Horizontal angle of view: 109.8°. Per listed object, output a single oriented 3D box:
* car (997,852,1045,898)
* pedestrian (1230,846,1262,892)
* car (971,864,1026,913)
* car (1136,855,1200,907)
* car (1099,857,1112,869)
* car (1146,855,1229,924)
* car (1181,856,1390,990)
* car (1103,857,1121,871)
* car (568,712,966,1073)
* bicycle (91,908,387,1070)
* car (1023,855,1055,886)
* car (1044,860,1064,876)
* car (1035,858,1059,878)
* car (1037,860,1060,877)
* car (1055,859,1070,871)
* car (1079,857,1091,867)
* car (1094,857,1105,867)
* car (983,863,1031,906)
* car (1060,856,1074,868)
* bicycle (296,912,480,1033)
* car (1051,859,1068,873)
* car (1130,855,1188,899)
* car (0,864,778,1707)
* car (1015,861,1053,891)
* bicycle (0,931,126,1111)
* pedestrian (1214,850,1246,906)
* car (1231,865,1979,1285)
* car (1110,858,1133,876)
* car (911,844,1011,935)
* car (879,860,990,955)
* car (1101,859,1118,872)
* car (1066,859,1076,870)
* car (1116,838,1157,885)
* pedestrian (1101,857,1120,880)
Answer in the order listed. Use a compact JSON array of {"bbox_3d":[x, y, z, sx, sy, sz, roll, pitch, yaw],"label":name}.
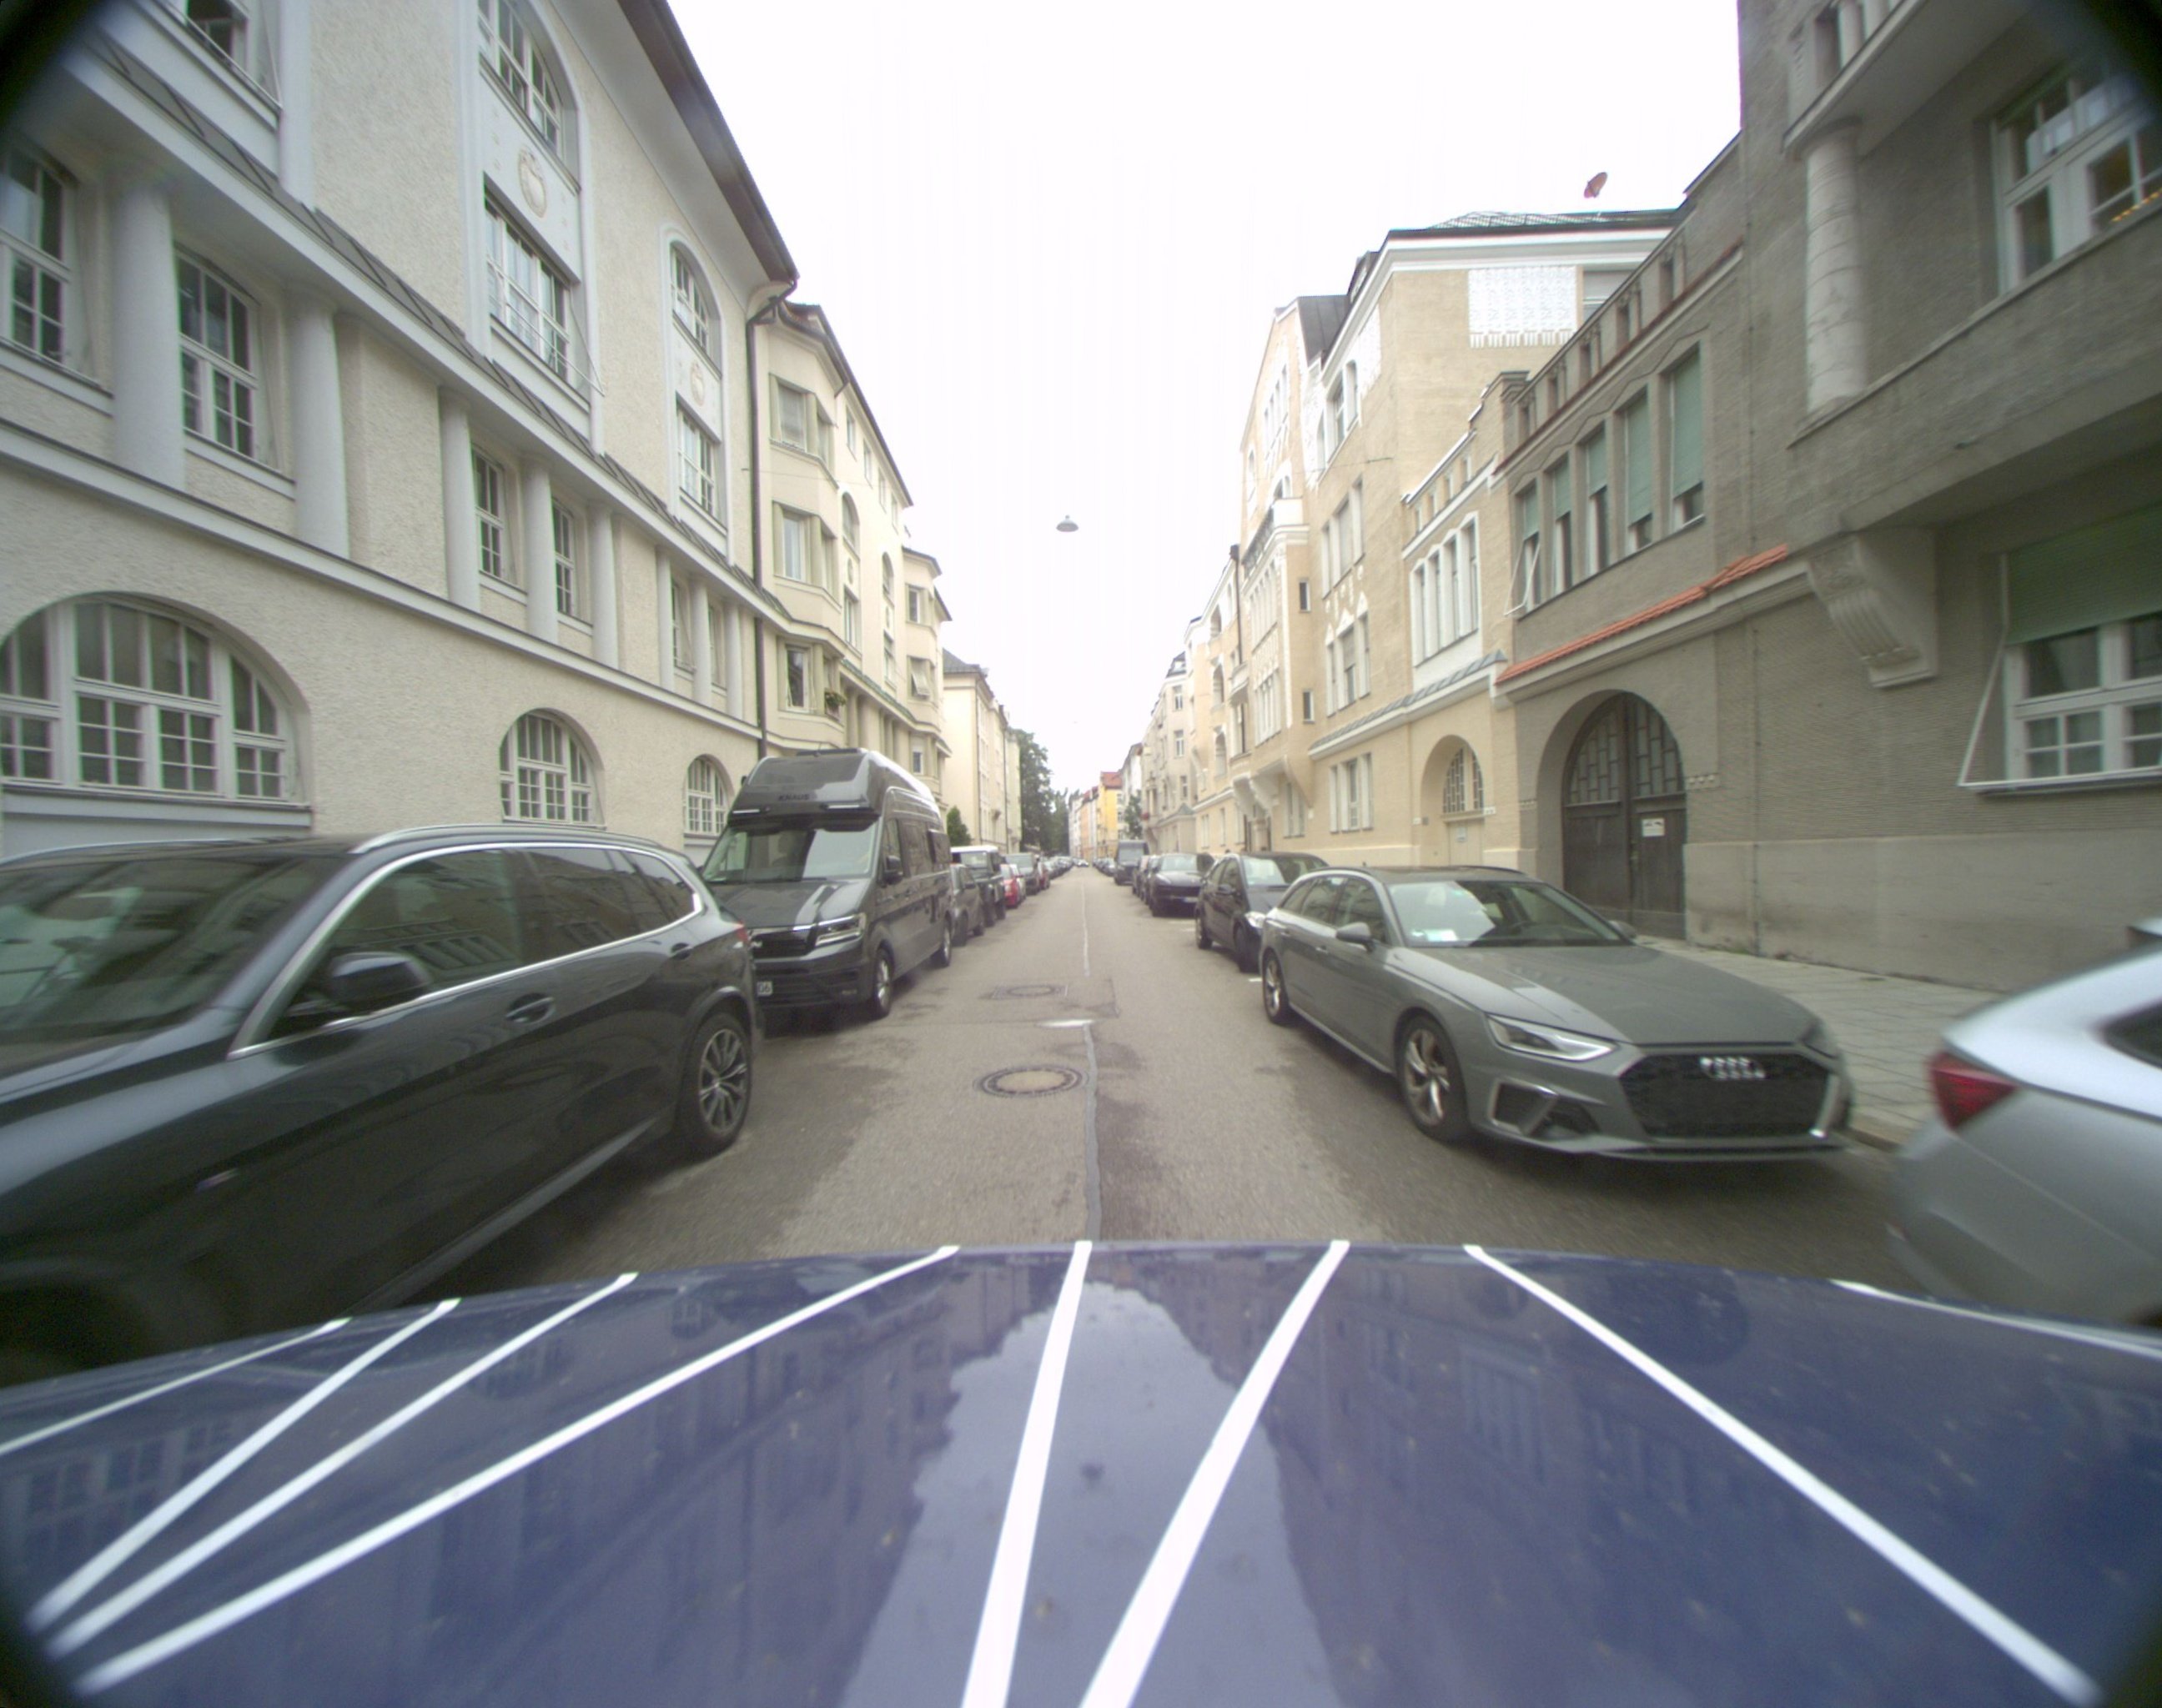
[{"bbox_3d":[-2.765,0.950,35.968,1.881,1.924,4.662,-3,0,-1],"label":"car"},{"bbox_3d":[6.332,0.559,29.229,0.995,1.718,0.939,-2,0,0],"label":"pedestrian"},{"bbox_3d":[-2.756,1.116,25.907,1.497,1.463,3.503,-3,0,-1],"label":"car"},{"bbox_3d":[2.962,0.878,26.540,1.736,1.633,4.102,-2,0,0],"label":"car"},{"bbox_3d":[3.451,1.235,108.650,1.683,1.628,3.705,-2,0,-1],"label":"car"},{"bbox_3d":[2.823,0.877,21.030,1.955,1.649,4.619,-1,0,4],"label":"car"},{"bbox_3d":[2.767,0.843,11.206,1.808,1.563,3.812,-2,0,-4],"label":"car"},{"bbox_3d":[3.249,1.062,80.205,1.683,1.390,3.705,-2,0,-1],"label":"car"},{"bbox_3d":[-3.108,0.292,9.484,2.260,2.943,6.131,-3,1,0],"label":"car"},{"bbox_3d":[-7.497,1.135,6.913,0.482,1.144,1.789,-2,0,9],"label":"bicycle"},{"bbox_3d":[-2.558,0.970,47.102,1.683,1.767,3.456,-2,0,0],"label":"car"},{"bbox_3d":[-2.494,1.242,70.265,1.683,1.375,3.645,-2,0,0],"label":"car"},{"bbox_3d":[-2.686,1.114,60.833,1.683,1.434,3.645,-2,0,0],"label":"car"},{"bbox_3d":[-2.787,1.251,65.740,1.683,1.375,3.645,-2,0,0],"label":"car"},{"bbox_3d":[-2.217,1.321,92.871,1.683,1.434,3.645,-2,0,0],"label":"car"},{"bbox_3d":[0.760,1.555,141.655,1.999,1.788,3.999,-2,0,-4],"label":"car"},{"bbox_3d":[3.877,1.602,158.036,1.999,2.002,3.999,-2,0,-4],"label":"car"},{"bbox_3d":[-2.861,1.155,29.982,1.497,1.463,3.675,-3,0,-1],"label":"car"},{"bbox_3d":[-1.949,1.101,106.647,1.683,1.671,3.645,-2,0,0],"label":"car"},{"bbox_3d":[-7.605,1.248,8.454,0.389,1.063,1.788,0,0,1],"label":"bicycle"},{"bbox_3d":[-2.284,1.322,83.040,1.683,1.434,3.645,-2,0,0],"label":"car"},{"bbox_3d":[3.141,0.878,31.436,1.877,1.639,4.460,-2,0,0],"label":"car"},{"bbox_3d":[-2.955,0.940,2.455,1.998,1.679,4.674,-3,0,0],"label":"car"},{"bbox_3d":[-2.483,1.134,40.933,1.731,1.458,3.737,-2,0,0],"label":"car"},{"bbox_3d":[-7.567,1.167,4.948,0.483,1.144,1.788,1,0,-2],"label":"bicycle"},{"bbox_3d":[4.830,0.760,24.697,0.837,1.779,0.741,-2,1,0],"label":"pedestrian"},{"bbox_3d":[2.513,0.883,5.251,1.842,1.504,4.607,-1,0,-2],"label":"car"},{"bbox_3d":[3.393,1.055,63.873,1.683,1.390,3.705,-2,0,0],"label":"car"},{"bbox_3d":[-2.941,0.813,19.490,1.800,2.027,4.071,-2,0,1],"label":"car"},{"bbox_3d":[-2.769,0.960,14.884,1.546,1.616,2.815,-2,0,1],"label":"car"},{"bbox_3d":[3.323,1.326,89.647,1.683,1.390,3.705,-2,0,-1],"label":"car"},{"bbox_3d":[-1.690,1.808,130.215,1.683,1.671,3.645,-2,0,0],"label":"car"},{"bbox_3d":[3.181,0.428,44.791,2.104,2.606,5.678,0,0,1],"label":"car"},{"bbox_3d":[1.995,0.998,51.127,1.012,1.514,0.716,-2,1,38],"label":"pedestrian"}]
